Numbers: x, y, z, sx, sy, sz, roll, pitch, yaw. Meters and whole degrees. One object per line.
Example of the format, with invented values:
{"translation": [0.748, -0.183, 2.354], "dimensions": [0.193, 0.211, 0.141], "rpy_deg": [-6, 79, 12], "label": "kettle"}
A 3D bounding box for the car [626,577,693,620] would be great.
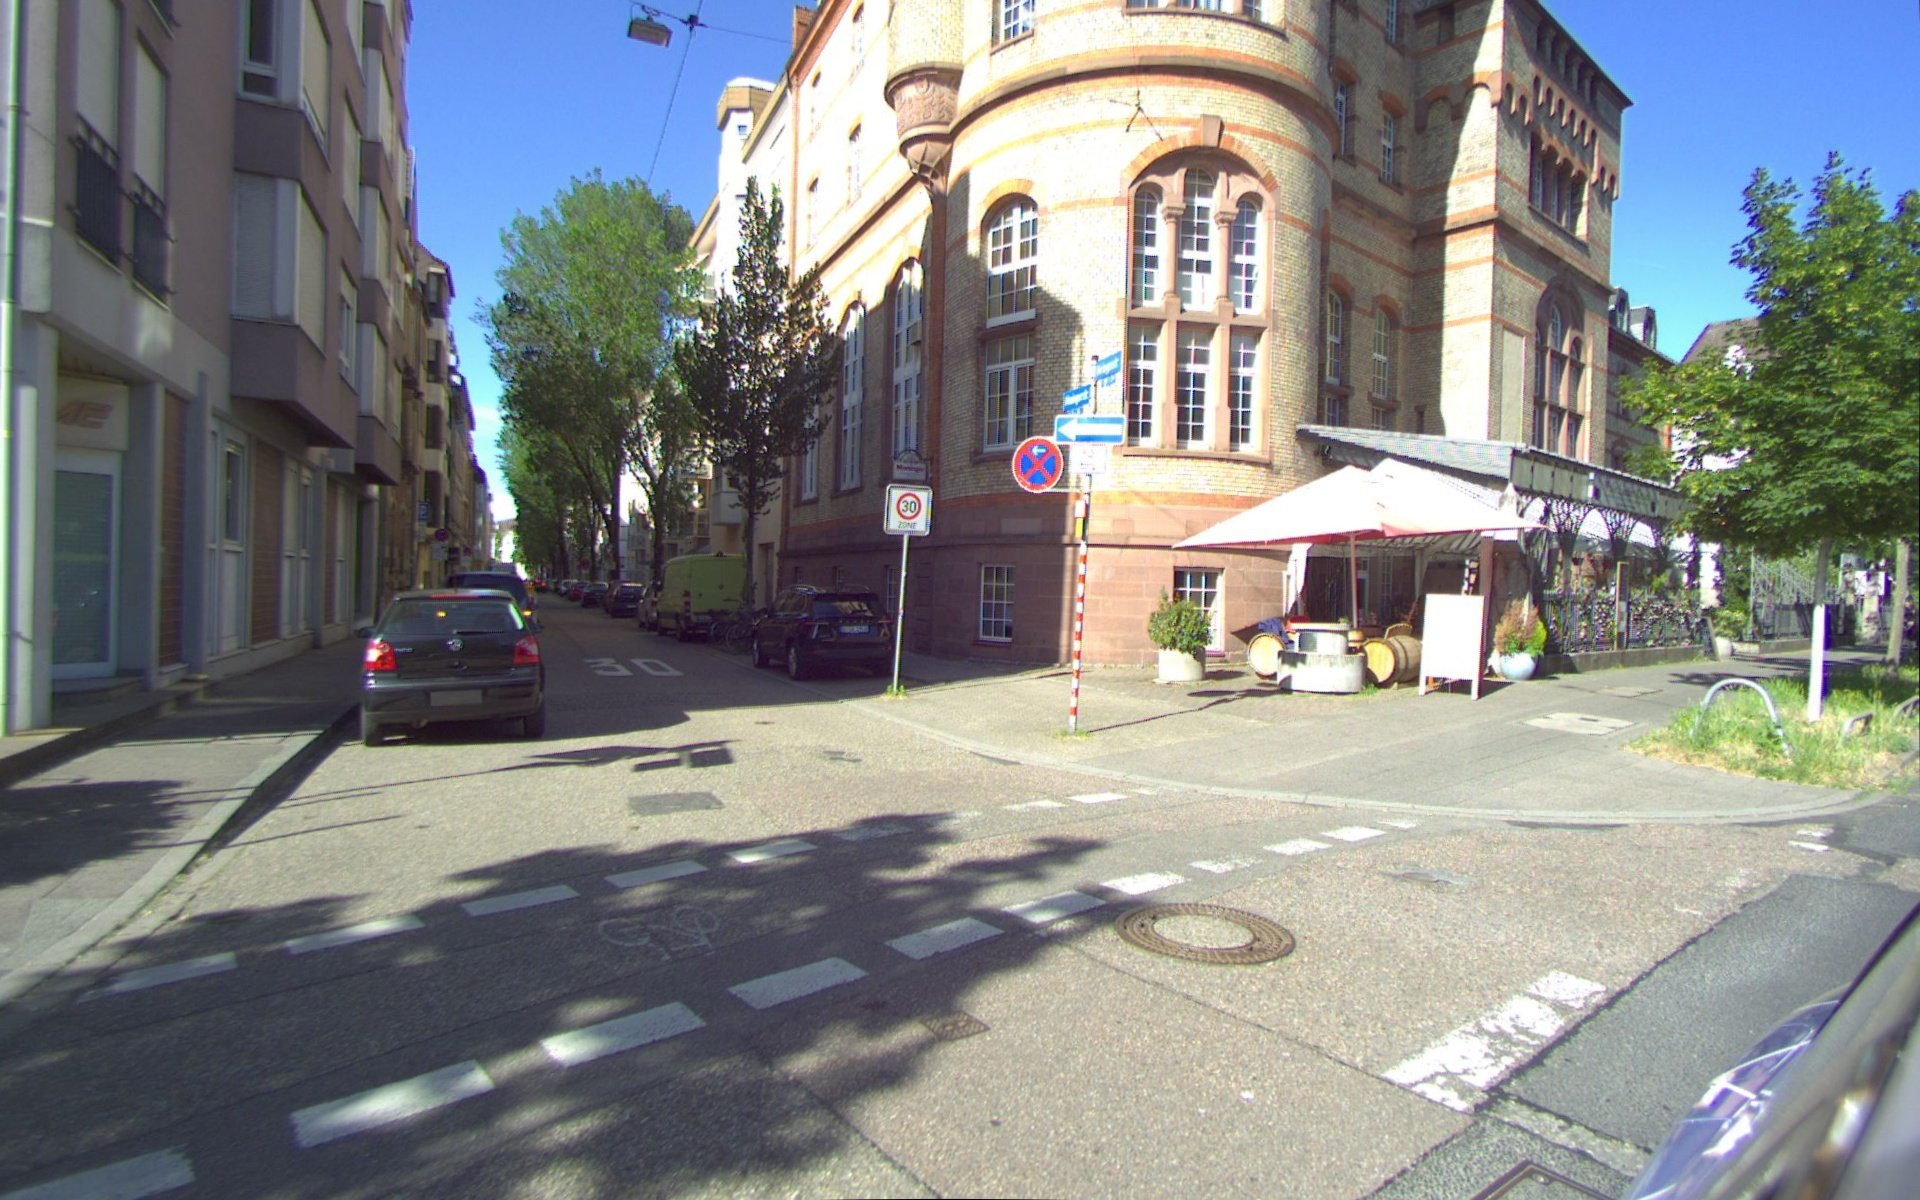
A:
{"translation": [-11.553, -0.063, 38.769], "dimensions": [1.758, 1.542, 3.963], "rpy_deg": [1, 0, -27], "label": "car"}

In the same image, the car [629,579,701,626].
{"translation": [-10.081, 0.122, 34.419], "dimensions": [1.620, 1.476, 3.901], "rpy_deg": [1, -1, -27], "label": "car"}

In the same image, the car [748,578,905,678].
{"translation": [-2.548, 0.396, 18.431], "dimensions": [1.758, 1.541, 3.965], "rpy_deg": [-2, 2, -24], "label": "car"}

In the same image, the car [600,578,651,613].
{"translation": [-15.057, -0.183, 45.479], "dimensions": [1.620, 1.476, 3.901], "rpy_deg": [1, -1, -27], "label": "car"}

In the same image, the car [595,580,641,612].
{"translation": [-16.986, -0.173, 50.186], "dimensions": [1.620, 1.476, 3.901], "rpy_deg": [1, -1, -27], "label": "car"}

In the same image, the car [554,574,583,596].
{"translation": [-29.281, -1.092, 75.591], "dimensions": [1.620, 1.476, 3.901], "rpy_deg": [1, -1, -27], "label": "car"}

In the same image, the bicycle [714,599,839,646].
{"translation": [-4.313, 0.512, 23.871], "dimensions": [2.714, 1.040, 1.061], "rpy_deg": [0, 0, -26], "label": "bicycle"}

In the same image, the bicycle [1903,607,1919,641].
{"translation": [35.984, 0.902, 37.922], "dimensions": [1.810, 1.190, 0.654], "rpy_deg": [1, 4, -40], "label": "bicycle"}

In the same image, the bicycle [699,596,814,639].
{"translation": [-5.188, 0.416, 25.808], "dimensions": [2.714, 1.040, 1.061], "rpy_deg": [0, 0, -26], "label": "bicycle"}

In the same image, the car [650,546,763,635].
{"translation": [-7.318, -0.258, 28.889], "dimensions": [2.093, 2.331, 4.814], "rpy_deg": [1, 0, -27], "label": "car"}

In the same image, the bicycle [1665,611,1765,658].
{"translation": [21.334, 0.947, 28.637], "dimensions": [2.196, 1.193, 0.676], "rpy_deg": [2, 1, 45], "label": "bicycle"}

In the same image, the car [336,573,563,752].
{"translation": [-5.462, 0.523, 10.933], "dimensions": [1.824, 1.542, 3.963], "rpy_deg": [0, 0, -27], "label": "car"}

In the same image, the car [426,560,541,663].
{"translation": [-9.043, 0.190, 19.127], "dimensions": [1.758, 1.728, 3.963], "rpy_deg": [1, 0, -27], "label": "car"}

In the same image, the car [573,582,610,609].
{"translation": [-21.660, -0.232, 59.411], "dimensions": [1.620, 1.476, 3.901], "rpy_deg": [1, -1, -27], "label": "car"}

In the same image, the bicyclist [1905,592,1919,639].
{"translation": [35.962, 0.589, 37.881], "dimensions": [0.873, 1.715, 0.647], "rpy_deg": [2, 3, -40], "label": "bicyclist"}
